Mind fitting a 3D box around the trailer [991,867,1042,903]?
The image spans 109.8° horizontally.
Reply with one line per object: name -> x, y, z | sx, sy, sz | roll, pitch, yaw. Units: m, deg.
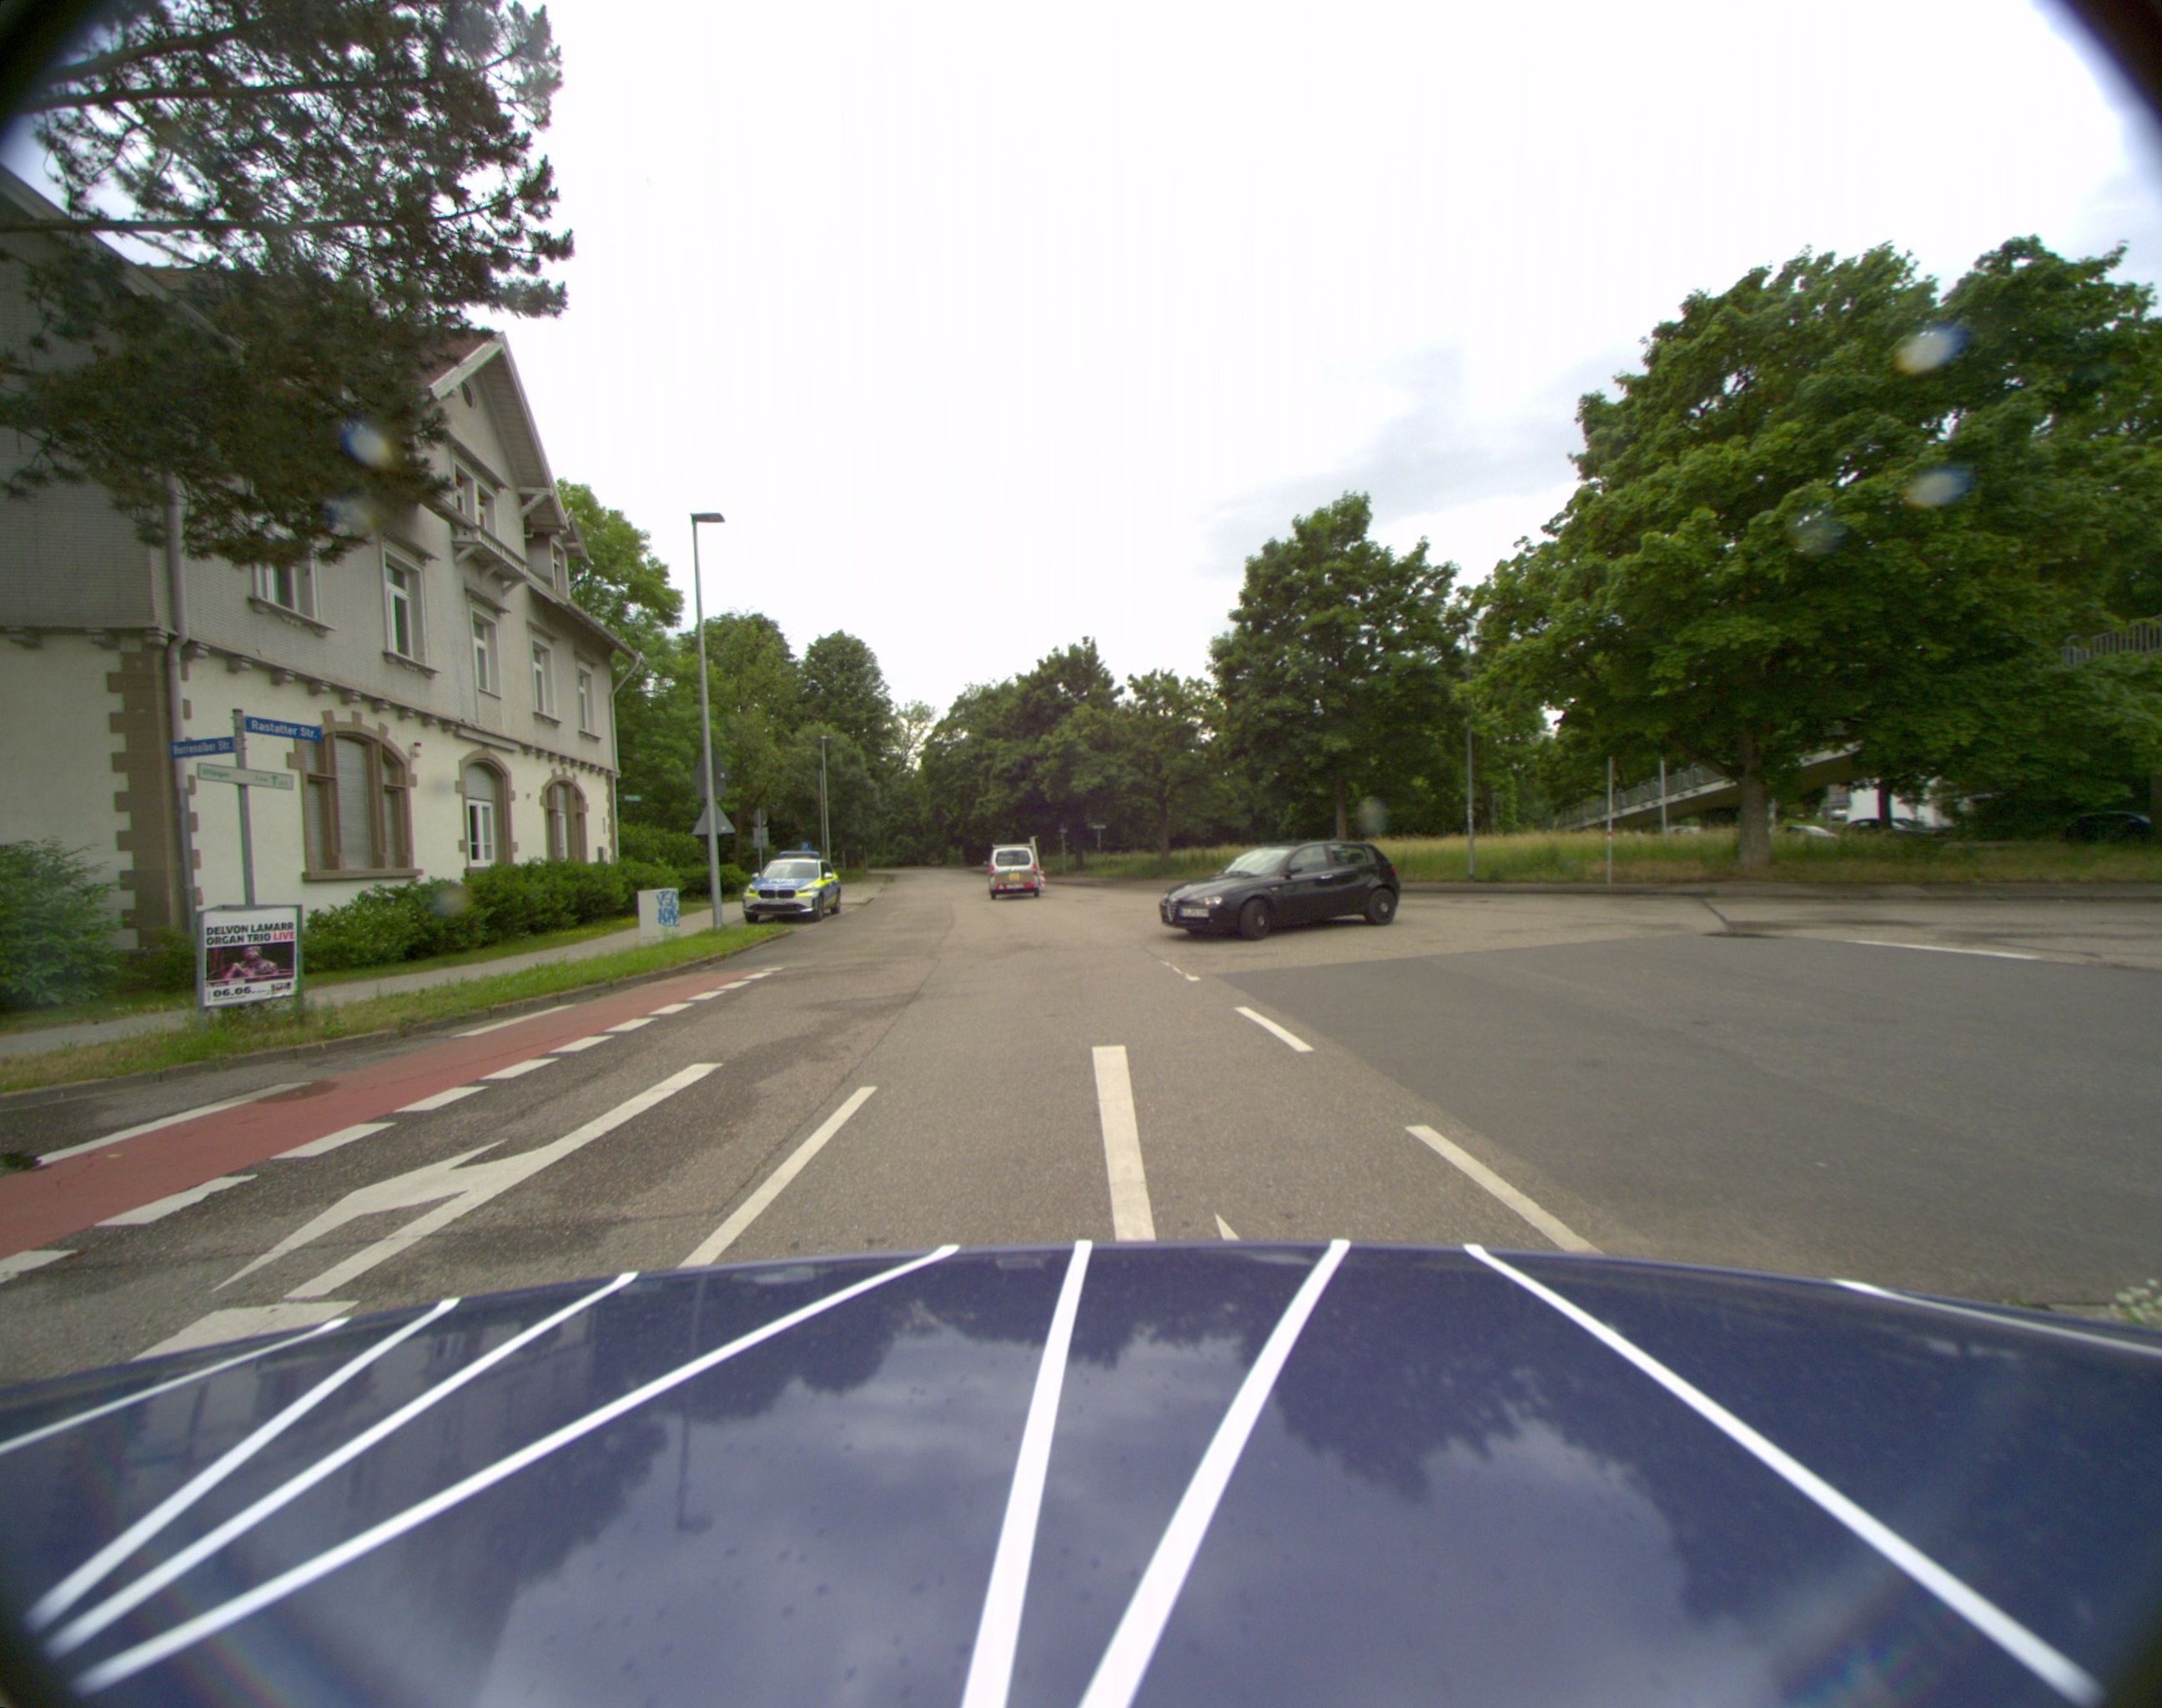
trailer -> -2.190, 1.000, 25.572 | 1.571, 0.980, 3.463 | -2, 1, -6

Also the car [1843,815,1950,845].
car -> 41.787, -1.213, 39.070 | 1.692, 1.343, 4.002 | -2, 1, 11

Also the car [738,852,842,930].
car -> -7.628, 0.880, 20.286 | 1.937, 1.839, 3.995 | -1, 0, -12

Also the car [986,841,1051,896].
car -> -2.492, 0.508, 29.376 | 2.095, 1.847, 4.218 | -3, 1, -9

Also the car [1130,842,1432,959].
car -> 3.254, 0.633, 12.243 | 4.546, 1.449, 1.800 | -3, 1, -24

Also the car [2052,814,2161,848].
car -> 40.377, -0.889, 29.095 | 1.692, 1.231, 4.002 | -2, 1, 11
